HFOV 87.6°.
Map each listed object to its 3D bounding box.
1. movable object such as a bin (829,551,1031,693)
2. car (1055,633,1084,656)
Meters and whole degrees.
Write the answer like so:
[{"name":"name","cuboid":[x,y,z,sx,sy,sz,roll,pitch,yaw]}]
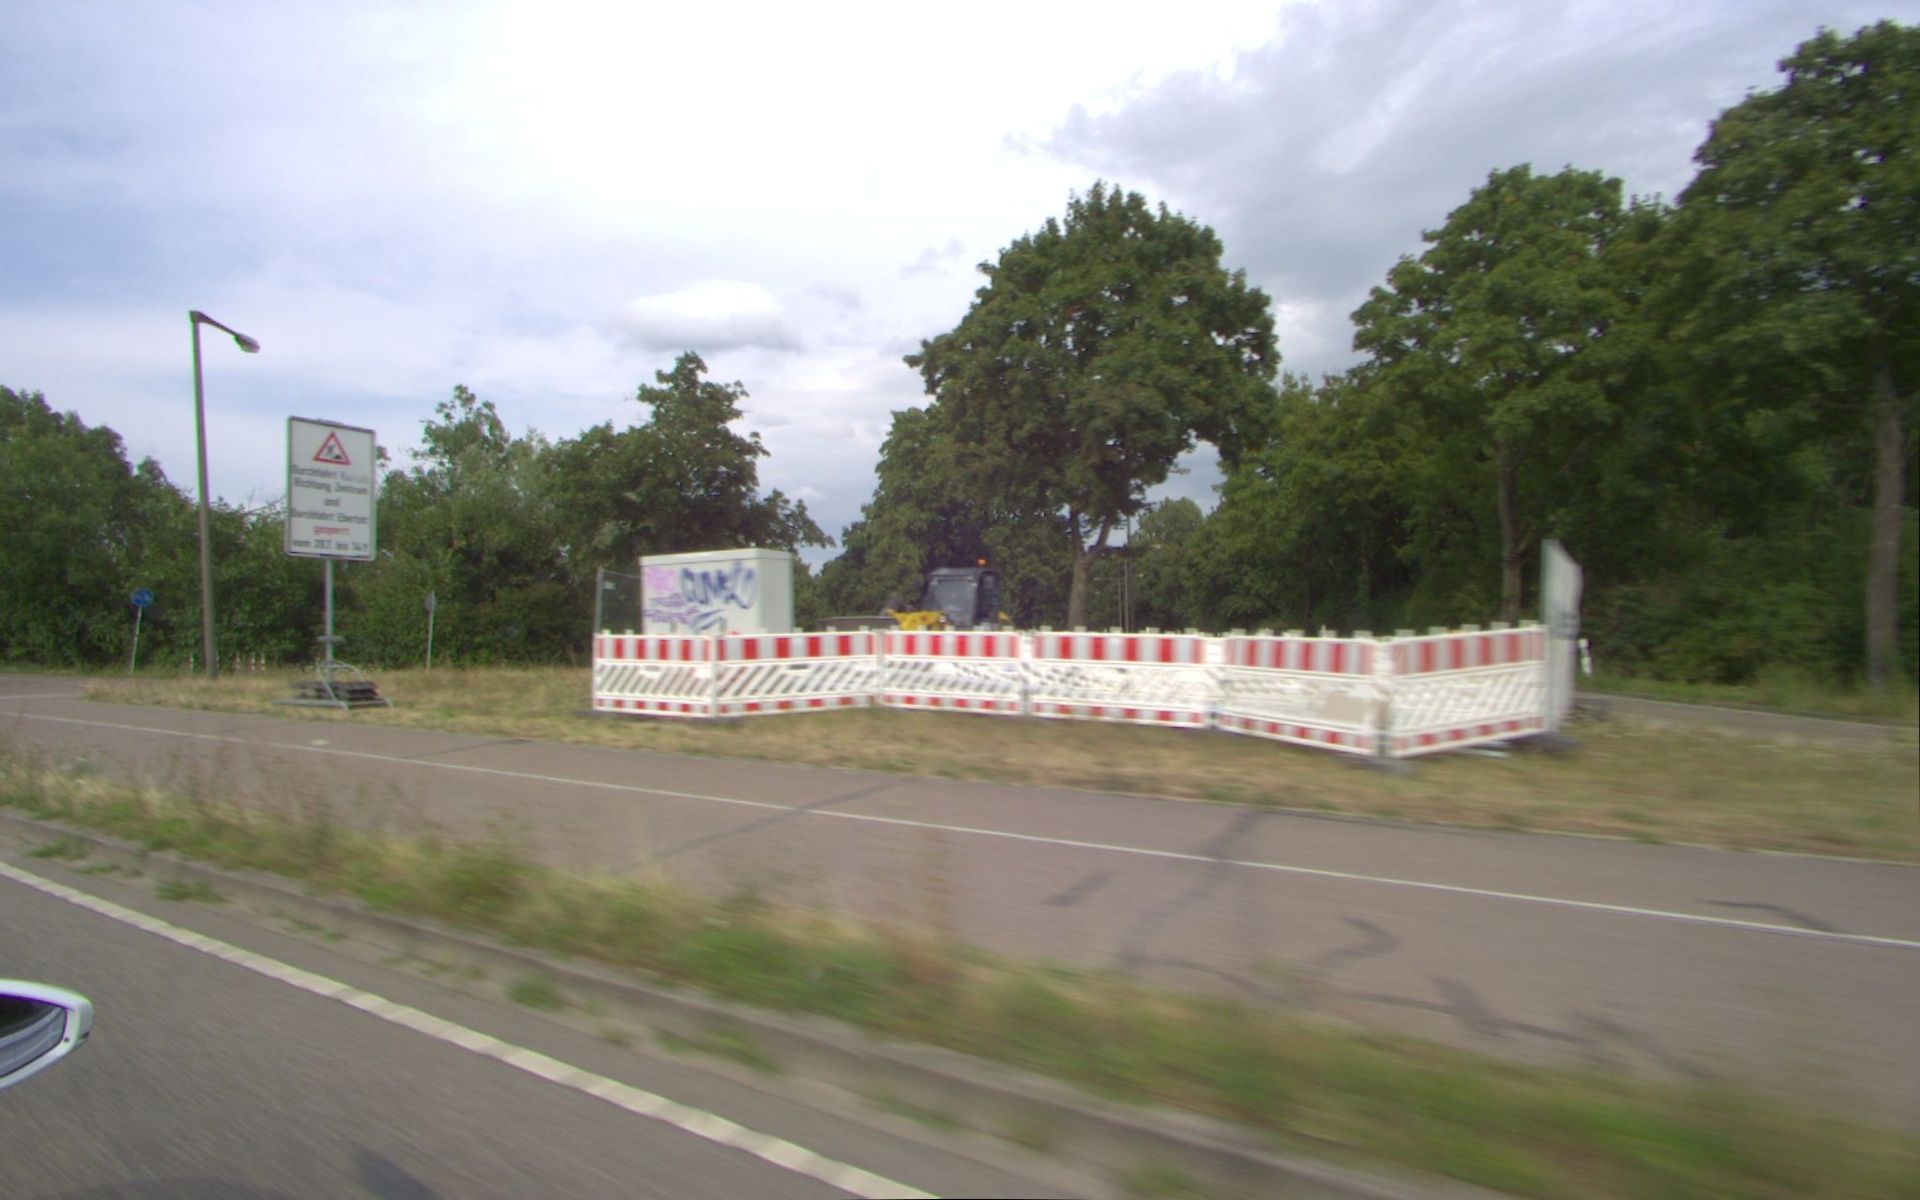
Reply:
[{"name":"movable object such as a bin","cuboid":[-0.528,0.500,21.665,2.074,2.723,4.488,-1,-2,36]},{"name":"car","cuboid":[7.782,3.142,71.166,1.843,1.537,4.002,0,-2,3]}]
